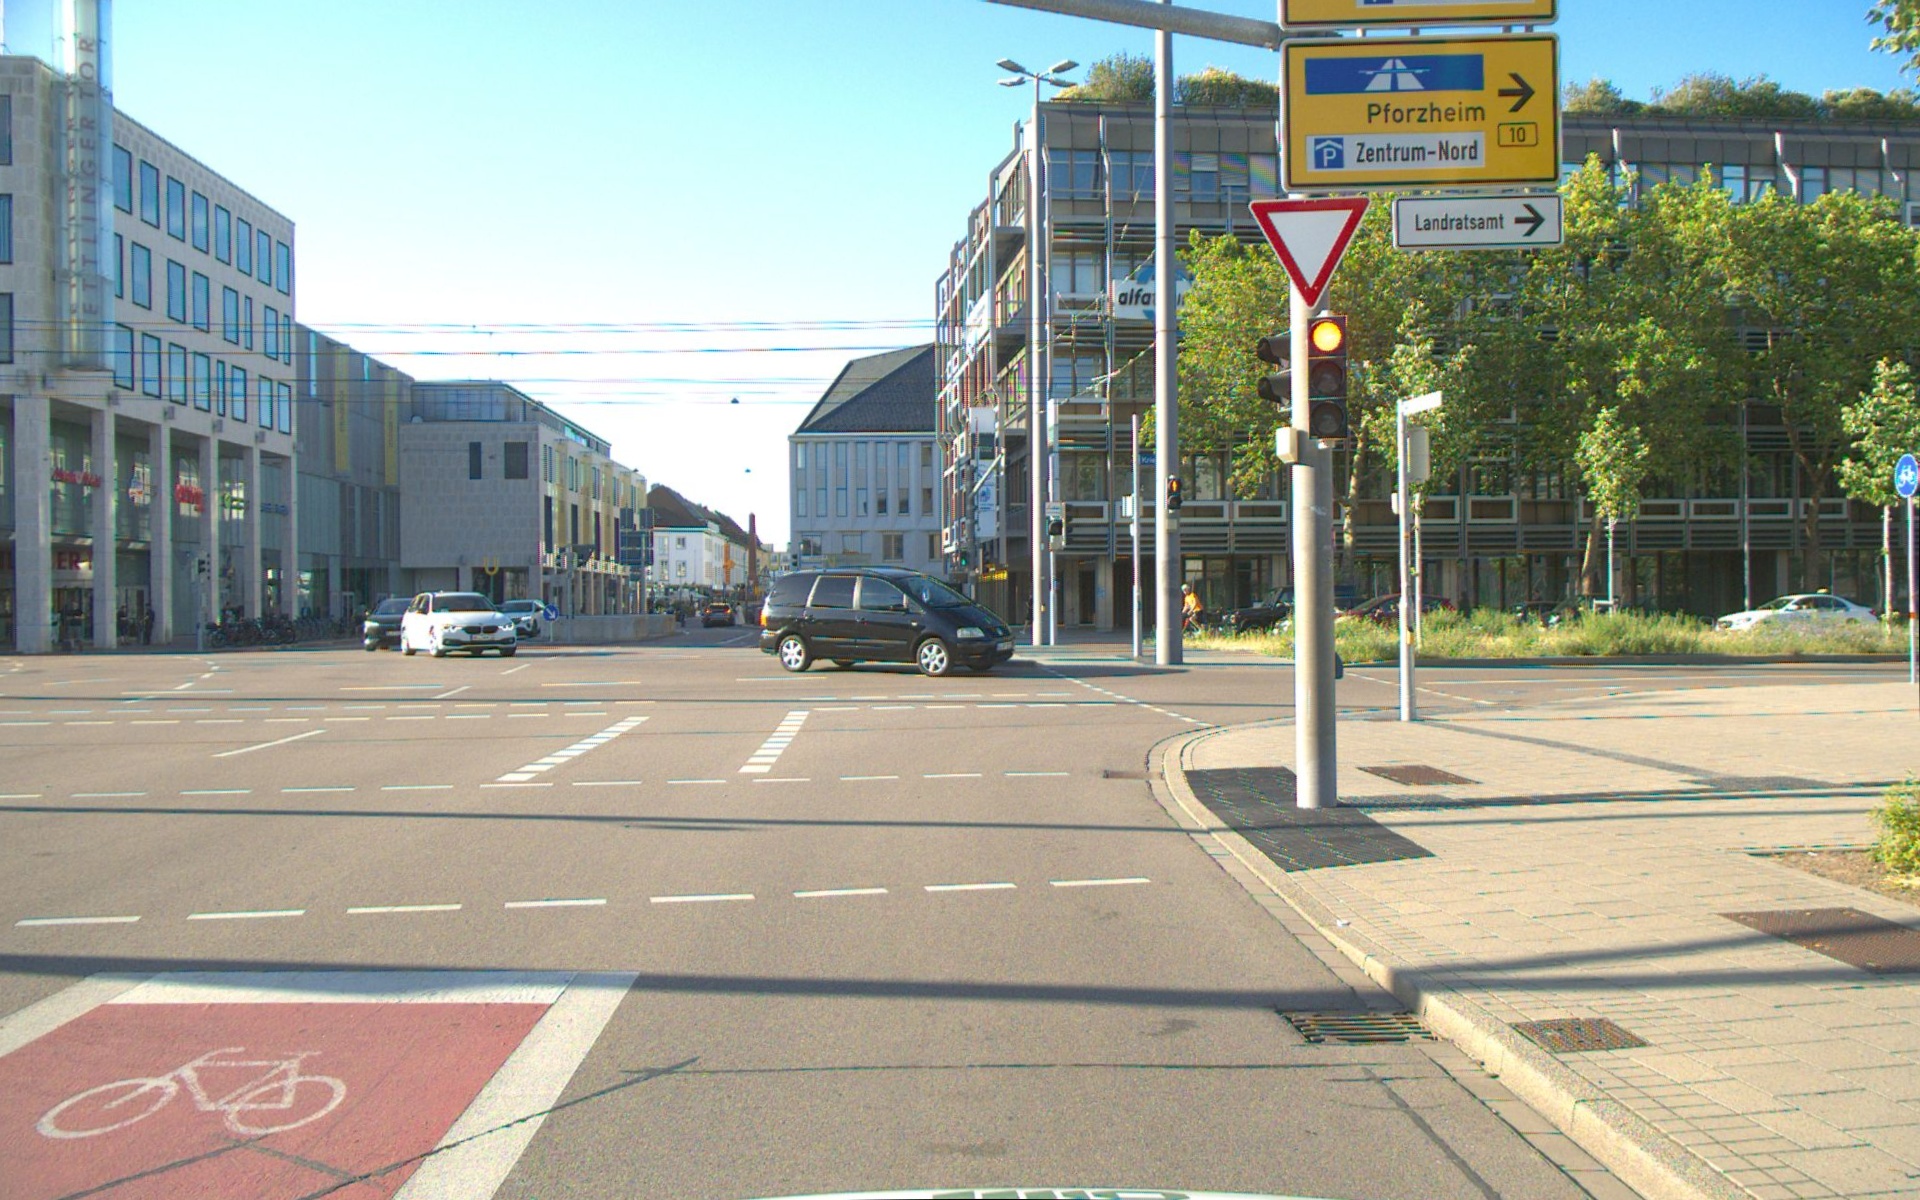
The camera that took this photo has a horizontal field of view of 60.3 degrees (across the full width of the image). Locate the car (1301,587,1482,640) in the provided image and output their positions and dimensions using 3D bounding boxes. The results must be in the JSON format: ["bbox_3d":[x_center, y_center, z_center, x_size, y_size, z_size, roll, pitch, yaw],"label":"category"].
[{"bbox_3d":[12.087,0.351,46.498,4.541,1.380,1.998,0,2,-6],"label":"car"}]

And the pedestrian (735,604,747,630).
[{"bbox_3d":[-14.326,1.116,108.193,0.700,1.697,0.987,-1,0,-2],"label":"pedestrian"}]

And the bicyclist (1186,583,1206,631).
[{"bbox_3d":[6.748,0.186,47.294,0.498,1.361,0.452,-1,0,1],"label":"bicyclist"}]

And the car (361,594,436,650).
[{"bbox_3d":[-16.583,0.623,49.005,1.962,1.557,4.016,-1,0,-17],"label":"car"}]

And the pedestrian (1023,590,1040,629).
[{"bbox_3d":[2.891,0.382,66.961,0.609,1.545,0.654,-1,0,7],"label":"pedestrian"}]

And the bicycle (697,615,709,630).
[{"bbox_3d":[-18.870,1.651,121.581,0.727,1.064,2.429,-1,0,-5],"label":"bicycle"}]

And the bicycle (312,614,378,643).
[{"bbox_3d":[-31.324,1.454,84.315,2.992,1.425,0.901,-1,0,-6],"label":"bicycle"}]

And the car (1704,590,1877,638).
[{"bbox_3d":[26.336,0.428,52.531,4.541,1.380,1.998,0,2,-6],"label":"car"}]

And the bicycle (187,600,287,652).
[{"bbox_3d":[-29.758,1.043,68.139,3.554,2.049,1.084,-1,0,-10],"label":"bicycle"}]

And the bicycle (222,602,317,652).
[{"bbox_3d":[-29.604,1.134,70.943,3.551,2.049,1.085,-1,0,-6],"label":"bicycle"}]

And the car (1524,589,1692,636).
[{"bbox_3d":[20.366,0.373,52.093,4.541,1.380,1.998,0,2,-6],"label":"car"}]

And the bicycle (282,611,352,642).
[{"bbox_3d":[-31.046,1.289,79.899,2.992,1.425,0.901,-1,0,-6],"label":"bicycle"}]

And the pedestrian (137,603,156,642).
[{"bbox_3d":[-34.482,0.949,70.112,0.618,1.636,0.645,-1,0,-37],"label":"pedestrian"}]

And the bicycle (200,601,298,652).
[{"bbox_3d":[-29.843,1.095,69.475,3.551,2.049,1.085,-1,0,-6],"label":"bicycle"}]

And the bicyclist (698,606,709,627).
[{"bbox_3d":[-18.919,1.204,121.900,0.731,1.486,0.766,-1,0,-4],"label":"bicyclist"}]

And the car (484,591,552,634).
[{"bbox_3d":[-18.410,0.554,69.097,1.954,1.652,4.233,-1,-1,-5],"label":"car"}]

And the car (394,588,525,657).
[{"bbox_3d":[-11.481,0.459,37.751,1.972,1.380,4.602,-1,2,-29],"label":"car"}]

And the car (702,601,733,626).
[{"bbox_3d":[-15.837,0.876,107.980,1.956,1.579,3.993,-1,0,-8],"label":"car"}]

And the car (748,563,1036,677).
[{"bbox_3d":[-1.184,0.269,28.069,4.545,1.772,1.996,1,2,31],"label":"car"}]

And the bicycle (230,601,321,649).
[{"bbox_3d":[-30.553,1.090,73.857,3.551,2.049,1.085,-1,0,-6],"label":"bicycle"}]

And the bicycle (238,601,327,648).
[{"bbox_3d":[-30.710,1.101,74.999,3.551,2.049,1.085,-1,0,-6],"label":"bicycle"}]

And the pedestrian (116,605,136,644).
[{"bbox_3d":[-35.018,1.021,69.433,0.618,1.636,0.645,-1,0,-37],"label":"pedestrian"}]

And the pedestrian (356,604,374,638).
[{"bbox_3d":[-28.728,1.001,79.821,0.734,1.636,0.619,-1,0,-29],"label":"pedestrian"}]

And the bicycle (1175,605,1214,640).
[{"bbox_3d":[6.701,0.631,47.289,1.054,0.988,0.458,-1,0,0],"label":"bicycle"}]

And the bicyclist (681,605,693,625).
[{"bbox_3d":[-19.992,1.092,121.064,0.731,1.486,0.766,-1,0,-4],"label":"bicyclist"}]

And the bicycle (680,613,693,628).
[{"bbox_3d":[-19.980,1.517,121.000,0.727,1.064,2.429,-1,0,-5],"label":"bicycle"}]

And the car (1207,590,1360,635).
[{"bbox_3d":[10.543,0.394,54.088,4.541,1.380,1.998,0,2,-6],"label":"car"}]

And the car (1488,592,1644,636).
[{"bbox_3d":[20.364,0.460,55.692,4.541,1.380,1.998,0,2,-6],"label":"car"}]

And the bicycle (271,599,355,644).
[{"bbox_3d":[-30.866,1.019,78.928,3.551,2.049,0.901,-1,0,-6],"label":"bicycle"}]

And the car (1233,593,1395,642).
[{"bbox_3d":[10.910,0.521,51.158,4.541,1.380,1.998,0,2,-6],"label":"car"}]

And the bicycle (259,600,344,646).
[{"bbox_3d":[-30.673,1.065,77.091,3.551,2.049,0.901,-1,0,-6],"label":"bicycle"}]
